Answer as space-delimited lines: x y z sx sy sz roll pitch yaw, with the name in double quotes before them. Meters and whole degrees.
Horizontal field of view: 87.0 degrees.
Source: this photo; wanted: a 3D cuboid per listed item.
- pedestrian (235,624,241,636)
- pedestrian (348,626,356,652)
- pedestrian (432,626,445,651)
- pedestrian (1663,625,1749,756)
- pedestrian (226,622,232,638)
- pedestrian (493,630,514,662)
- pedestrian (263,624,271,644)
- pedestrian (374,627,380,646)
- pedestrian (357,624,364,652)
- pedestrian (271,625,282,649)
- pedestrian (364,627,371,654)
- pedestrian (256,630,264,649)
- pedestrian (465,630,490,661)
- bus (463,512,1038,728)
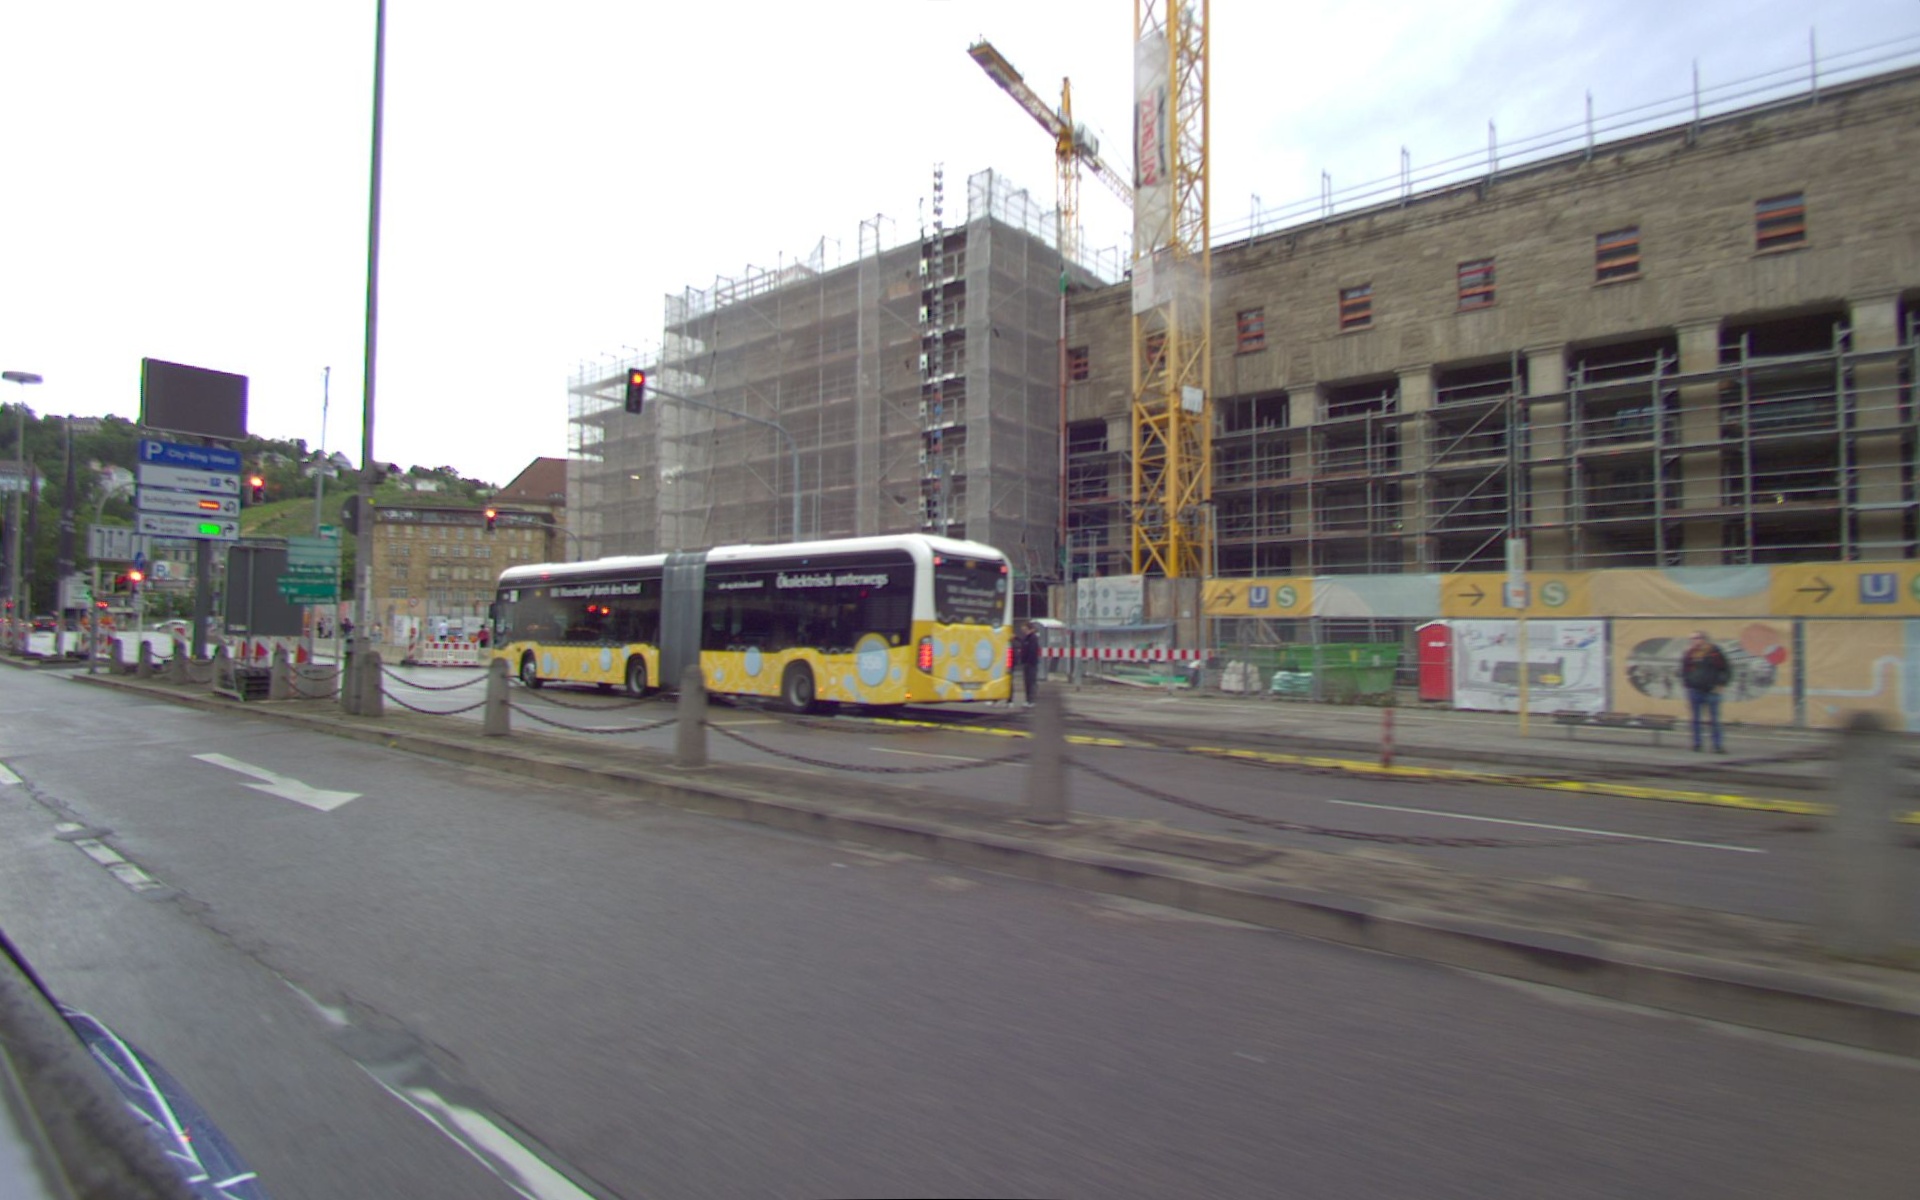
"pedestrian" -72.942 3.002 102.277 0.413 1.250 0.432 -2 -3 44
"pedestrian" -39.469 2.539 65.706 0.395 1.633 0.365 1 -1 -44
"pedestrian" -30.761 2.282 59.737 0.557 1.454 0.529 2 -3 -42
"pedestrian" 10.663 1.259 14.470 0.690 1.804 0.795 1 -2 -38
"pedestrian" -73.554 2.984 101.798 0.357 1.628 0.370 -2 -2 41
"pedestrian" -24.242 2.449 53.754 0.872 1.677 0.746 -2 -3 42
"pedestrian" -57.635 2.849 84.169 0.413 1.628 0.433 -2 -2 41
"pedestrian" -37.851 2.357 65.742 0.251 1.202 0.390 1 -1 -43
"pedestrian" -38.699 2.456 65.325 0.346 1.783 0.306 -2 -3 45
"pedestrian" -57.236 3.094 84.697 0.685 2.049 0.585 -2 -2 41
"pedestrian" -38.370 2.618 65.518 0.268 1.783 0.310 -1 -1 44
"pedestrian" -61.034 3.472 88.206 0.413 1.628 0.433 -2 -2 41
"pedestrian" -25.220 2.375 52.931 0.709 1.579 0.941 -2 -3 42
"bus" -6.551 0.569 24.397 19.074 3.605 2.878 -1 -4 42
